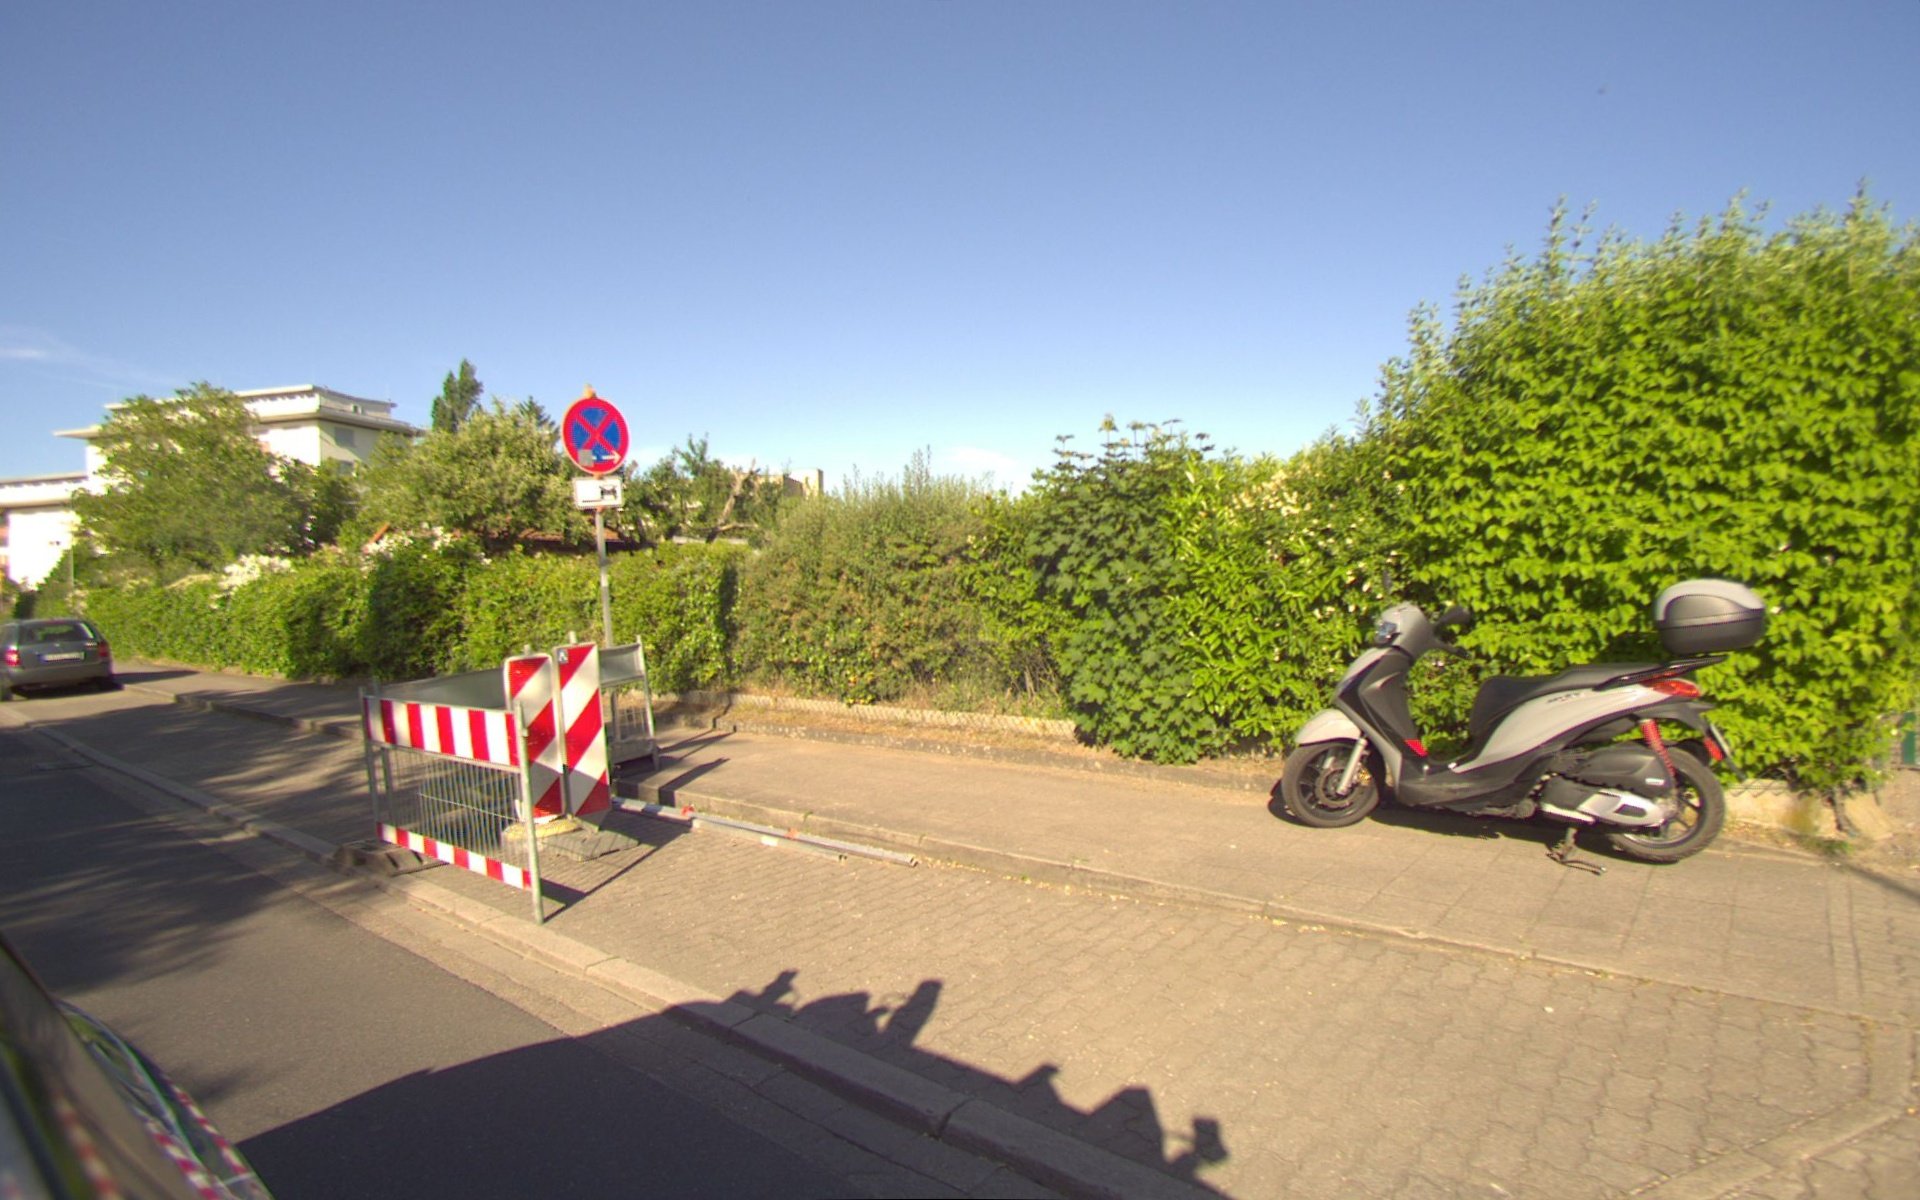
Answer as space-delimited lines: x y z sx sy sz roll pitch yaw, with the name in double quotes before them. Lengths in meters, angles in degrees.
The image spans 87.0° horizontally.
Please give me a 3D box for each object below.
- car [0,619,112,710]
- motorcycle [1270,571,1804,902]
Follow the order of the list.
"car" -18.079 1.178 19.788 4.415 1.568 1.626 -1 -1 41
"motorcycle" 2.598 0.535 4.780 2.087 1.277 0.561 -1 1 37
